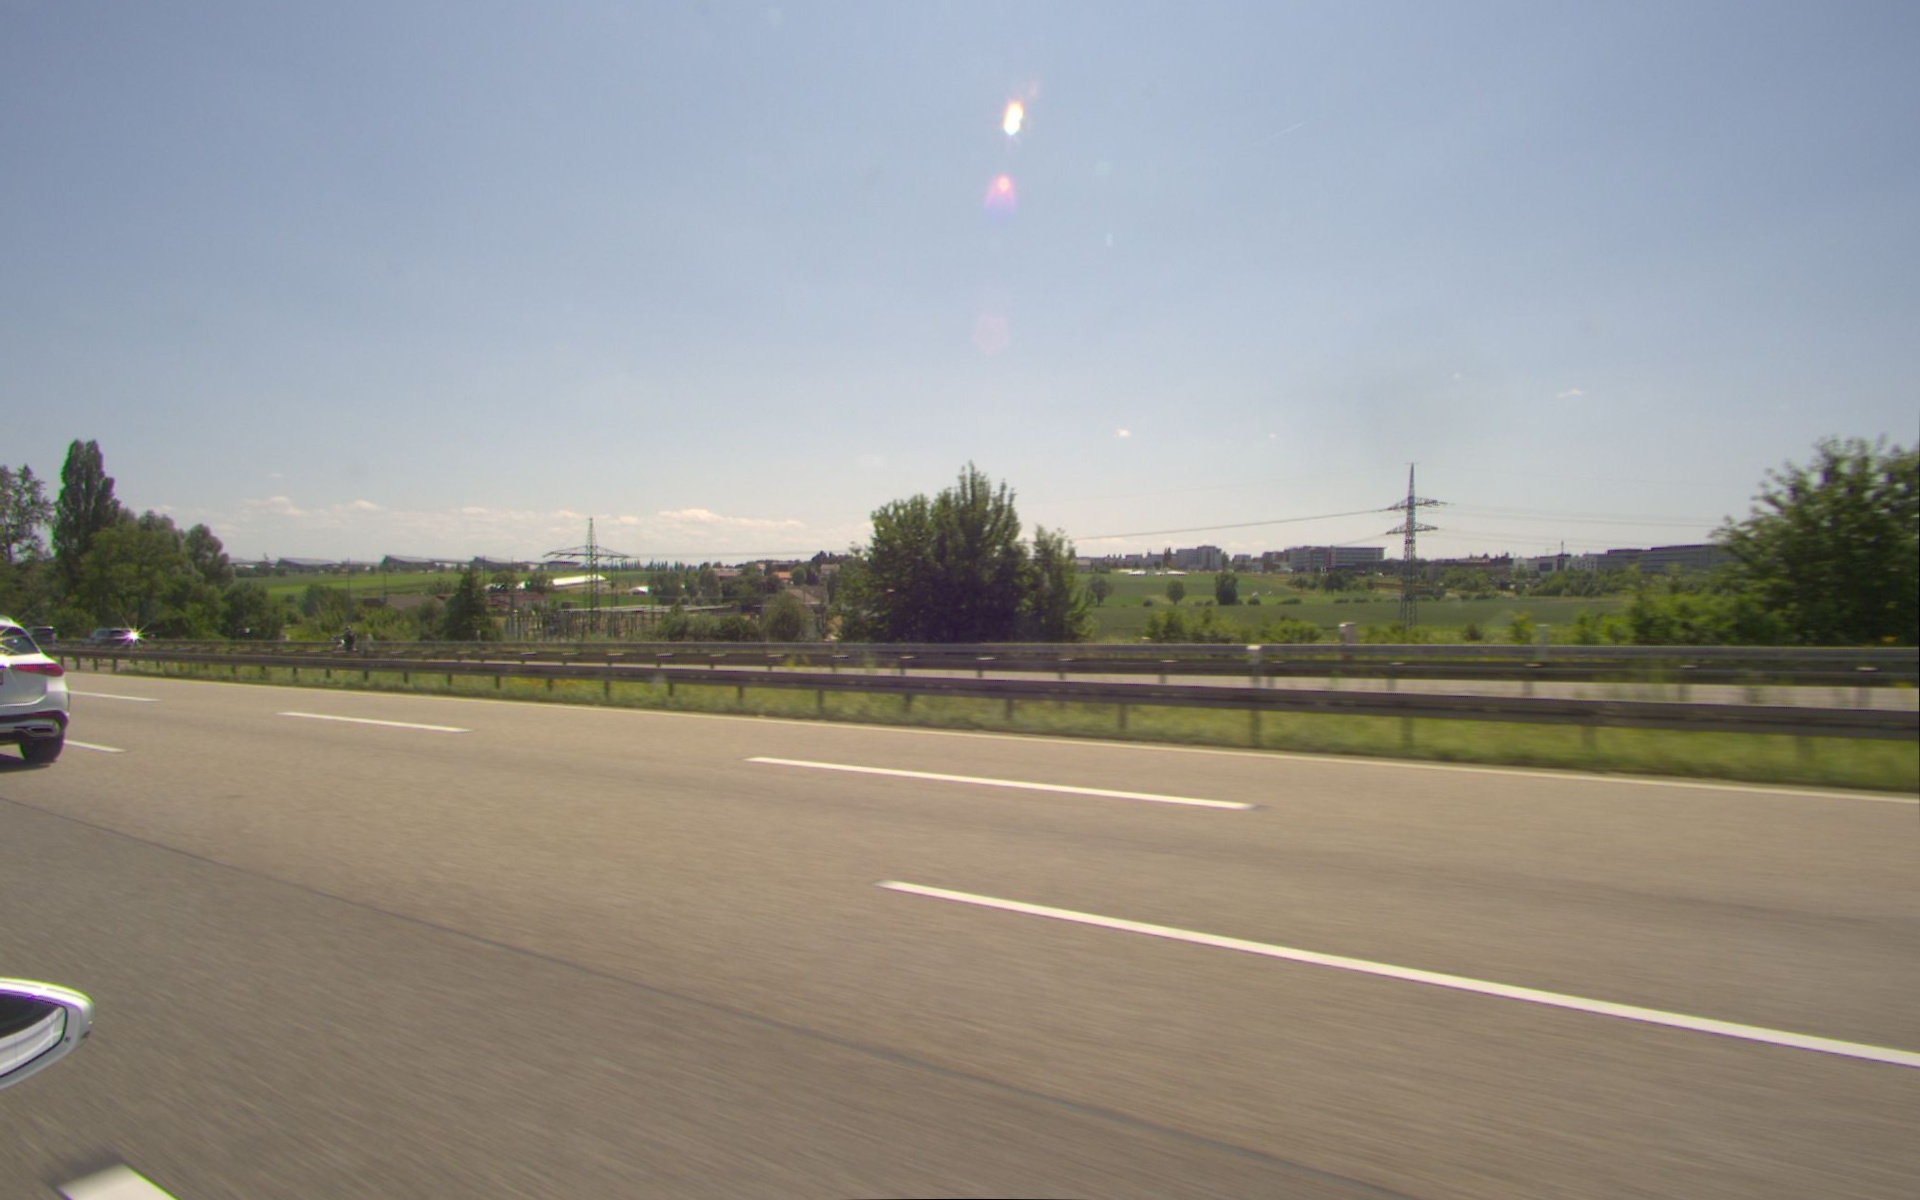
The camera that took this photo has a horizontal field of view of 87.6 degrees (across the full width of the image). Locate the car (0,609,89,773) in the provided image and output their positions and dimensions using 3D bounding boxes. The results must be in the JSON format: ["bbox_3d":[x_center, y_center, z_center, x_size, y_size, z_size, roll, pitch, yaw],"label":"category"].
[{"bbox_3d":[-11.899,0.951,11.336,4.930,1.668,1.894,-1,-2,34],"label":"car"}]

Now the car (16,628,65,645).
[{"bbox_3d":[-71.320,2.811,77.681,3.939,1.293,1.698,-1,-2,29],"label":"car"}]

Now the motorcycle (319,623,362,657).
[{"bbox_3d":[-25.588,1.649,41.322,1.842,1.384,0.759,-1,-1,32],"label":"motorcycle"}]

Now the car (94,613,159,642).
[{"bbox_3d":[-46.991,1.558,56.426,4.071,1.595,1.696,-1,-2,34],"label":"car"}]

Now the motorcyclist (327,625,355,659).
[{"bbox_3d":[-25.523,1.712,41.301,0.866,1.384,0.667,0,-1,32],"label":"motorcyclist"}]
